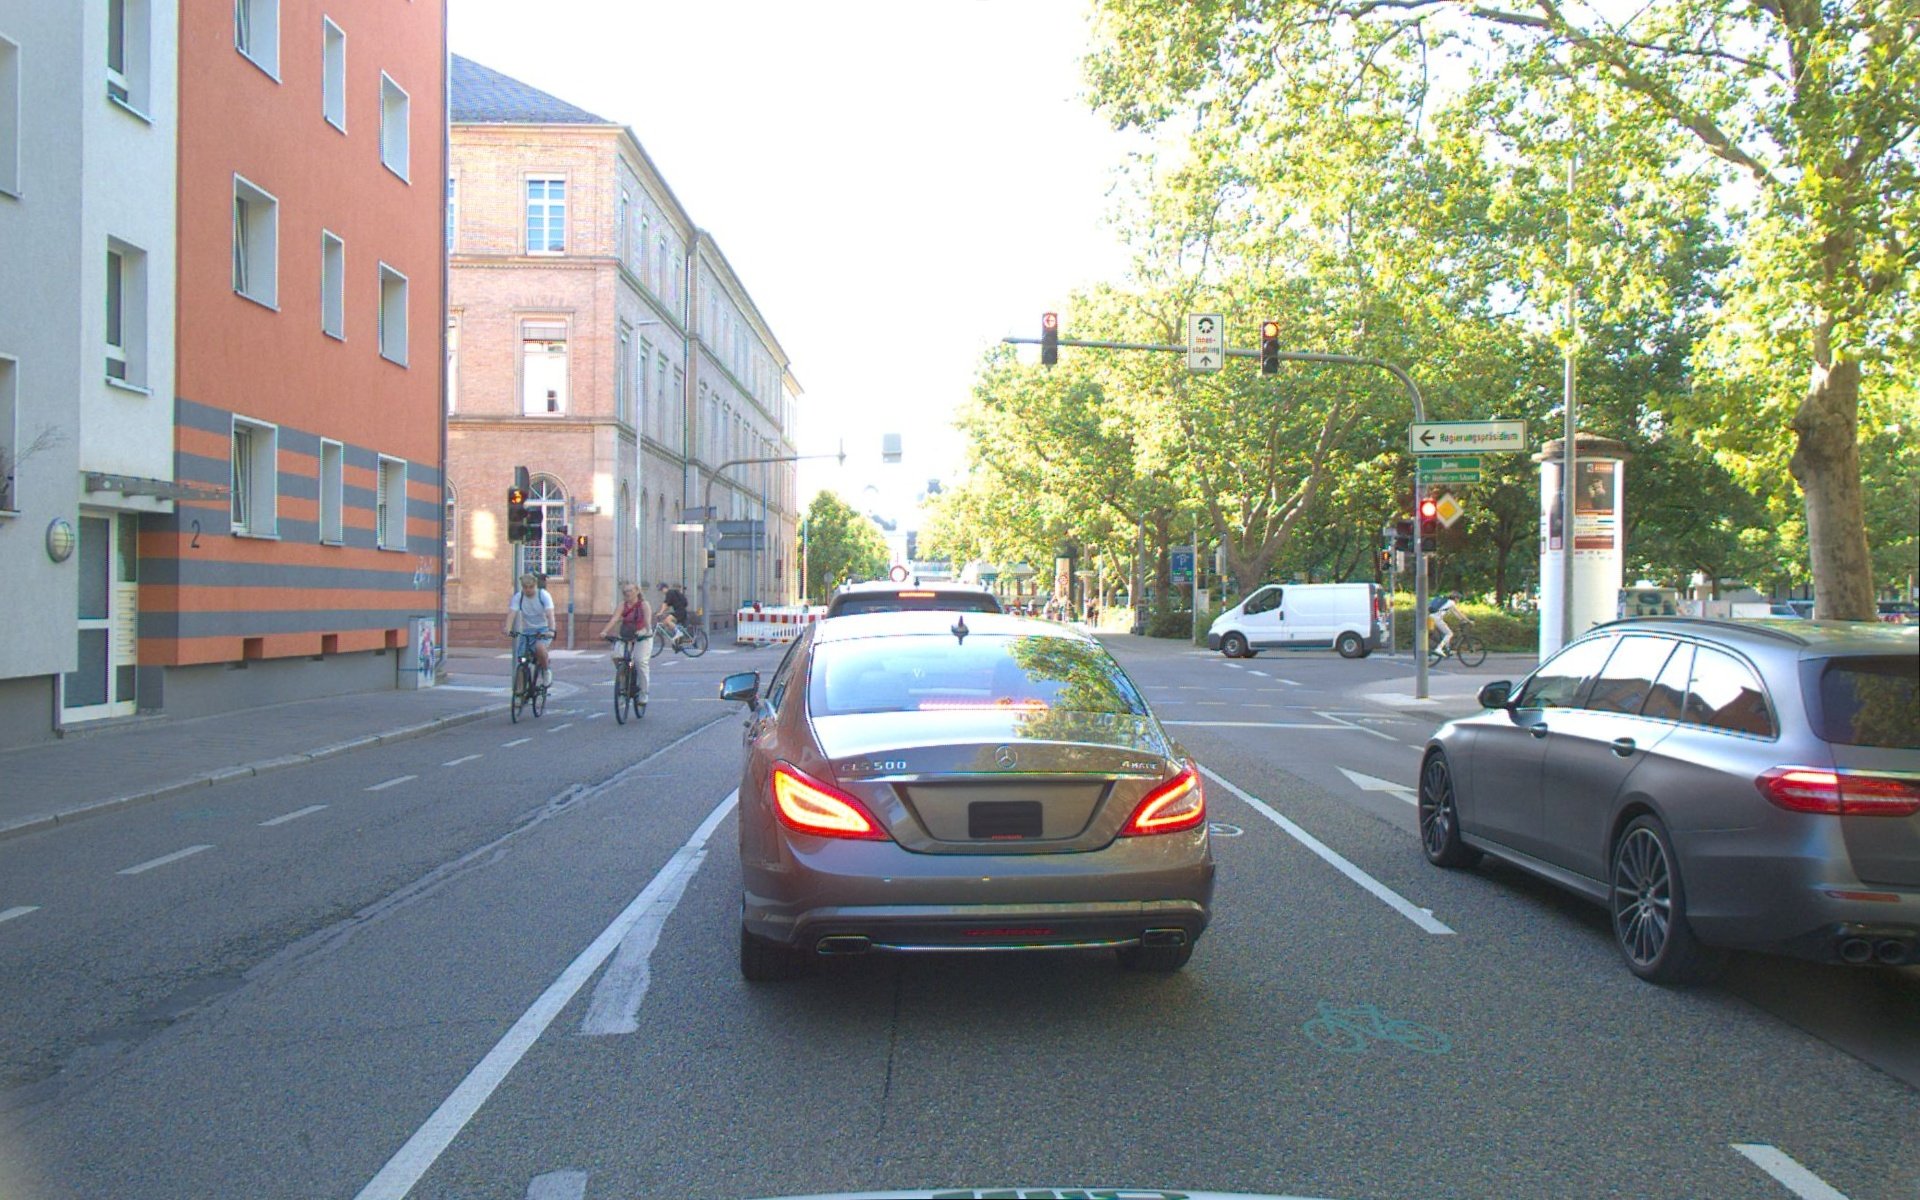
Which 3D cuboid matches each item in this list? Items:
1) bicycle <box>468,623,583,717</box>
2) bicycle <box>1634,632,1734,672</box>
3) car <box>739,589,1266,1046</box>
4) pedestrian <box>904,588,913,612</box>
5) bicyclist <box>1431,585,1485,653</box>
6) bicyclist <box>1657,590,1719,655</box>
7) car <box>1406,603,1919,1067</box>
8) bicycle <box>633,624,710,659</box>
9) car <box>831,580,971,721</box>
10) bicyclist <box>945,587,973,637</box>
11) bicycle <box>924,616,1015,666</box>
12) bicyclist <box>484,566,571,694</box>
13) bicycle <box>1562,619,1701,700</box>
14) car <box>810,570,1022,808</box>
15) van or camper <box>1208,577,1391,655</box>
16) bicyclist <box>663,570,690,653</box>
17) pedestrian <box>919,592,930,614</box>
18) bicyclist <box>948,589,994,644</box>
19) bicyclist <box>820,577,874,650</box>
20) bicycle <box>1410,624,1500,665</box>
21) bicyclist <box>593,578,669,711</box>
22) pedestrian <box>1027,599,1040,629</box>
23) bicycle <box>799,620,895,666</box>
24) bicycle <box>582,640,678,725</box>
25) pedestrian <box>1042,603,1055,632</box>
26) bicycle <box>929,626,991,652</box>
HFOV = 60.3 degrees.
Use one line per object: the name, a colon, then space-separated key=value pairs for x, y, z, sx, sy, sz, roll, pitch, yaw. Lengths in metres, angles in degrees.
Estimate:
bicycle: x=-5.483 y=0.859 z=21.008 sx=0.844 sy=1.097 sz=1.837 roll=0 pitch=0 yaw=4
bicycle: x=16.013 y=1.136 z=36.608 sx=1.933 sy=0.851 sz=0.677 roll=0 pitch=0 yaw=3
car: x=-0.122 y=0.725 z=7.658 sx=1.769 sy=1.482 sz=4.343 roll=0 pitch=0 yaw=-8
pedestrian: x=-4.127 y=0.019 z=131.890 sx=0.706 sy=1.935 sz=0.704 roll=0 pitch=0 yaw=-1
bicyclist: x=11.402 y=0.435 z=37.897 sx=1.052 sy=1.546 sz=0.717 roll=0 pitch=0 yaw=4
bicyclist: x=16.110 y=0.498 z=36.617 sx=1.080 sy=1.427 sz=0.658 roll=0 pitch=0 yaw=3
car: x=3.707 y=0.796 z=7.768 sx=1.874 sy=1.490 sz=4.668 roll=2 pitch=0 yaw=-1
bicycle: x=-7.134 y=1.032 z=41.009 sx=1.856 sy=0.851 sz=0.457 roll=0 pitch=0 yaw=-9
car: x=-0.784 y=0.644 z=23.223 sx=1.783 sy=1.793 sz=3.999 roll=0 pitch=0 yaw=-1
bicyclist: x=-0.017 y=0.303 z=42.520 sx=0.689 sy=1.282 sz=0.458 roll=0 pitch=0 yaw=4
bicycle: x=0.212 y=0.886 z=35.857 sx=1.939 sy=1.045 sz=0.652 roll=0 pitch=0 yaw=1
bicyclist: x=-5.483 y=0.373 z=21.016 sx=0.824 sy=1.582 sz=0.840 roll=0 pitch=0 yaw=5
bicycle: x=9.591 y=0.842 z=23.649 sx=1.766 sy=1.116 sz=0.510 roll=0 pitch=0 yaw=2
car: x=-0.405 y=0.631 z=13.688 sx=1.487 sy=1.675 sz=3.878 roll=1 pitch=0 yaw=-3
van or camper: x=9.028 y=0.387 z=43.945 sx=4.485 sy=1.975 sz=2.000 roll=1 pitch=0 yaw=21
bicyclist: x=-7.041 y=0.282 z=41.033 sx=0.640 sy=2.049 sz=0.439 roll=0 pitch=0 yaw=-8
pedestrian: x=-2.690 y=0.226 z=125.673 sx=0.785 sy=1.604 sz=0.844 roll=0 pitch=0 yaw=-1
bicyclist: x=0.239 y=0.361 z=35.854 sx=0.971 sy=1.174 sz=0.620 roll=0 pitch=0 yaw=1
bicyclist: x=-2.360 y=0.278 z=34.630 sx=1.094 sy=1.516 sz=0.711 roll=0 pitch=0 yaw=-2
bicycle: x=11.343 y=1.023 z=37.907 sx=1.853 sy=0.898 sz=0.726 roll=0 pitch=0 yaw=3
bicyclist: x=-4.092 y=0.537 z=20.618 sx=0.670 sy=1.605 sz=0.982 roll=0 pitch=0 yaw=5
pedestrian: x=3.760 y=0.698 z=84.457 sx=0.635 sy=1.529 sz=0.637 roll=0 pitch=0 yaw=-1
bicycle: x=-2.358 y=0.897 z=34.614 sx=1.946 sy=0.919 sz=0.733 roll=0 pitch=0 yaw=-1
bicycle: x=-4.092 y=1.006 z=20.642 sx=0.679 sy=0.945 sz=1.864 roll=0 pitch=0 yaw=5
pedestrian: x=4.503 y=0.866 z=84.133 sx=0.635 sy=1.458 sz=0.659 roll=0 pitch=0 yaw=-1
bicycle: x=0.004 y=1.006 z=42.526 sx=1.554 sy=0.646 sz=0.496 roll=0 pitch=0 yaw=3
